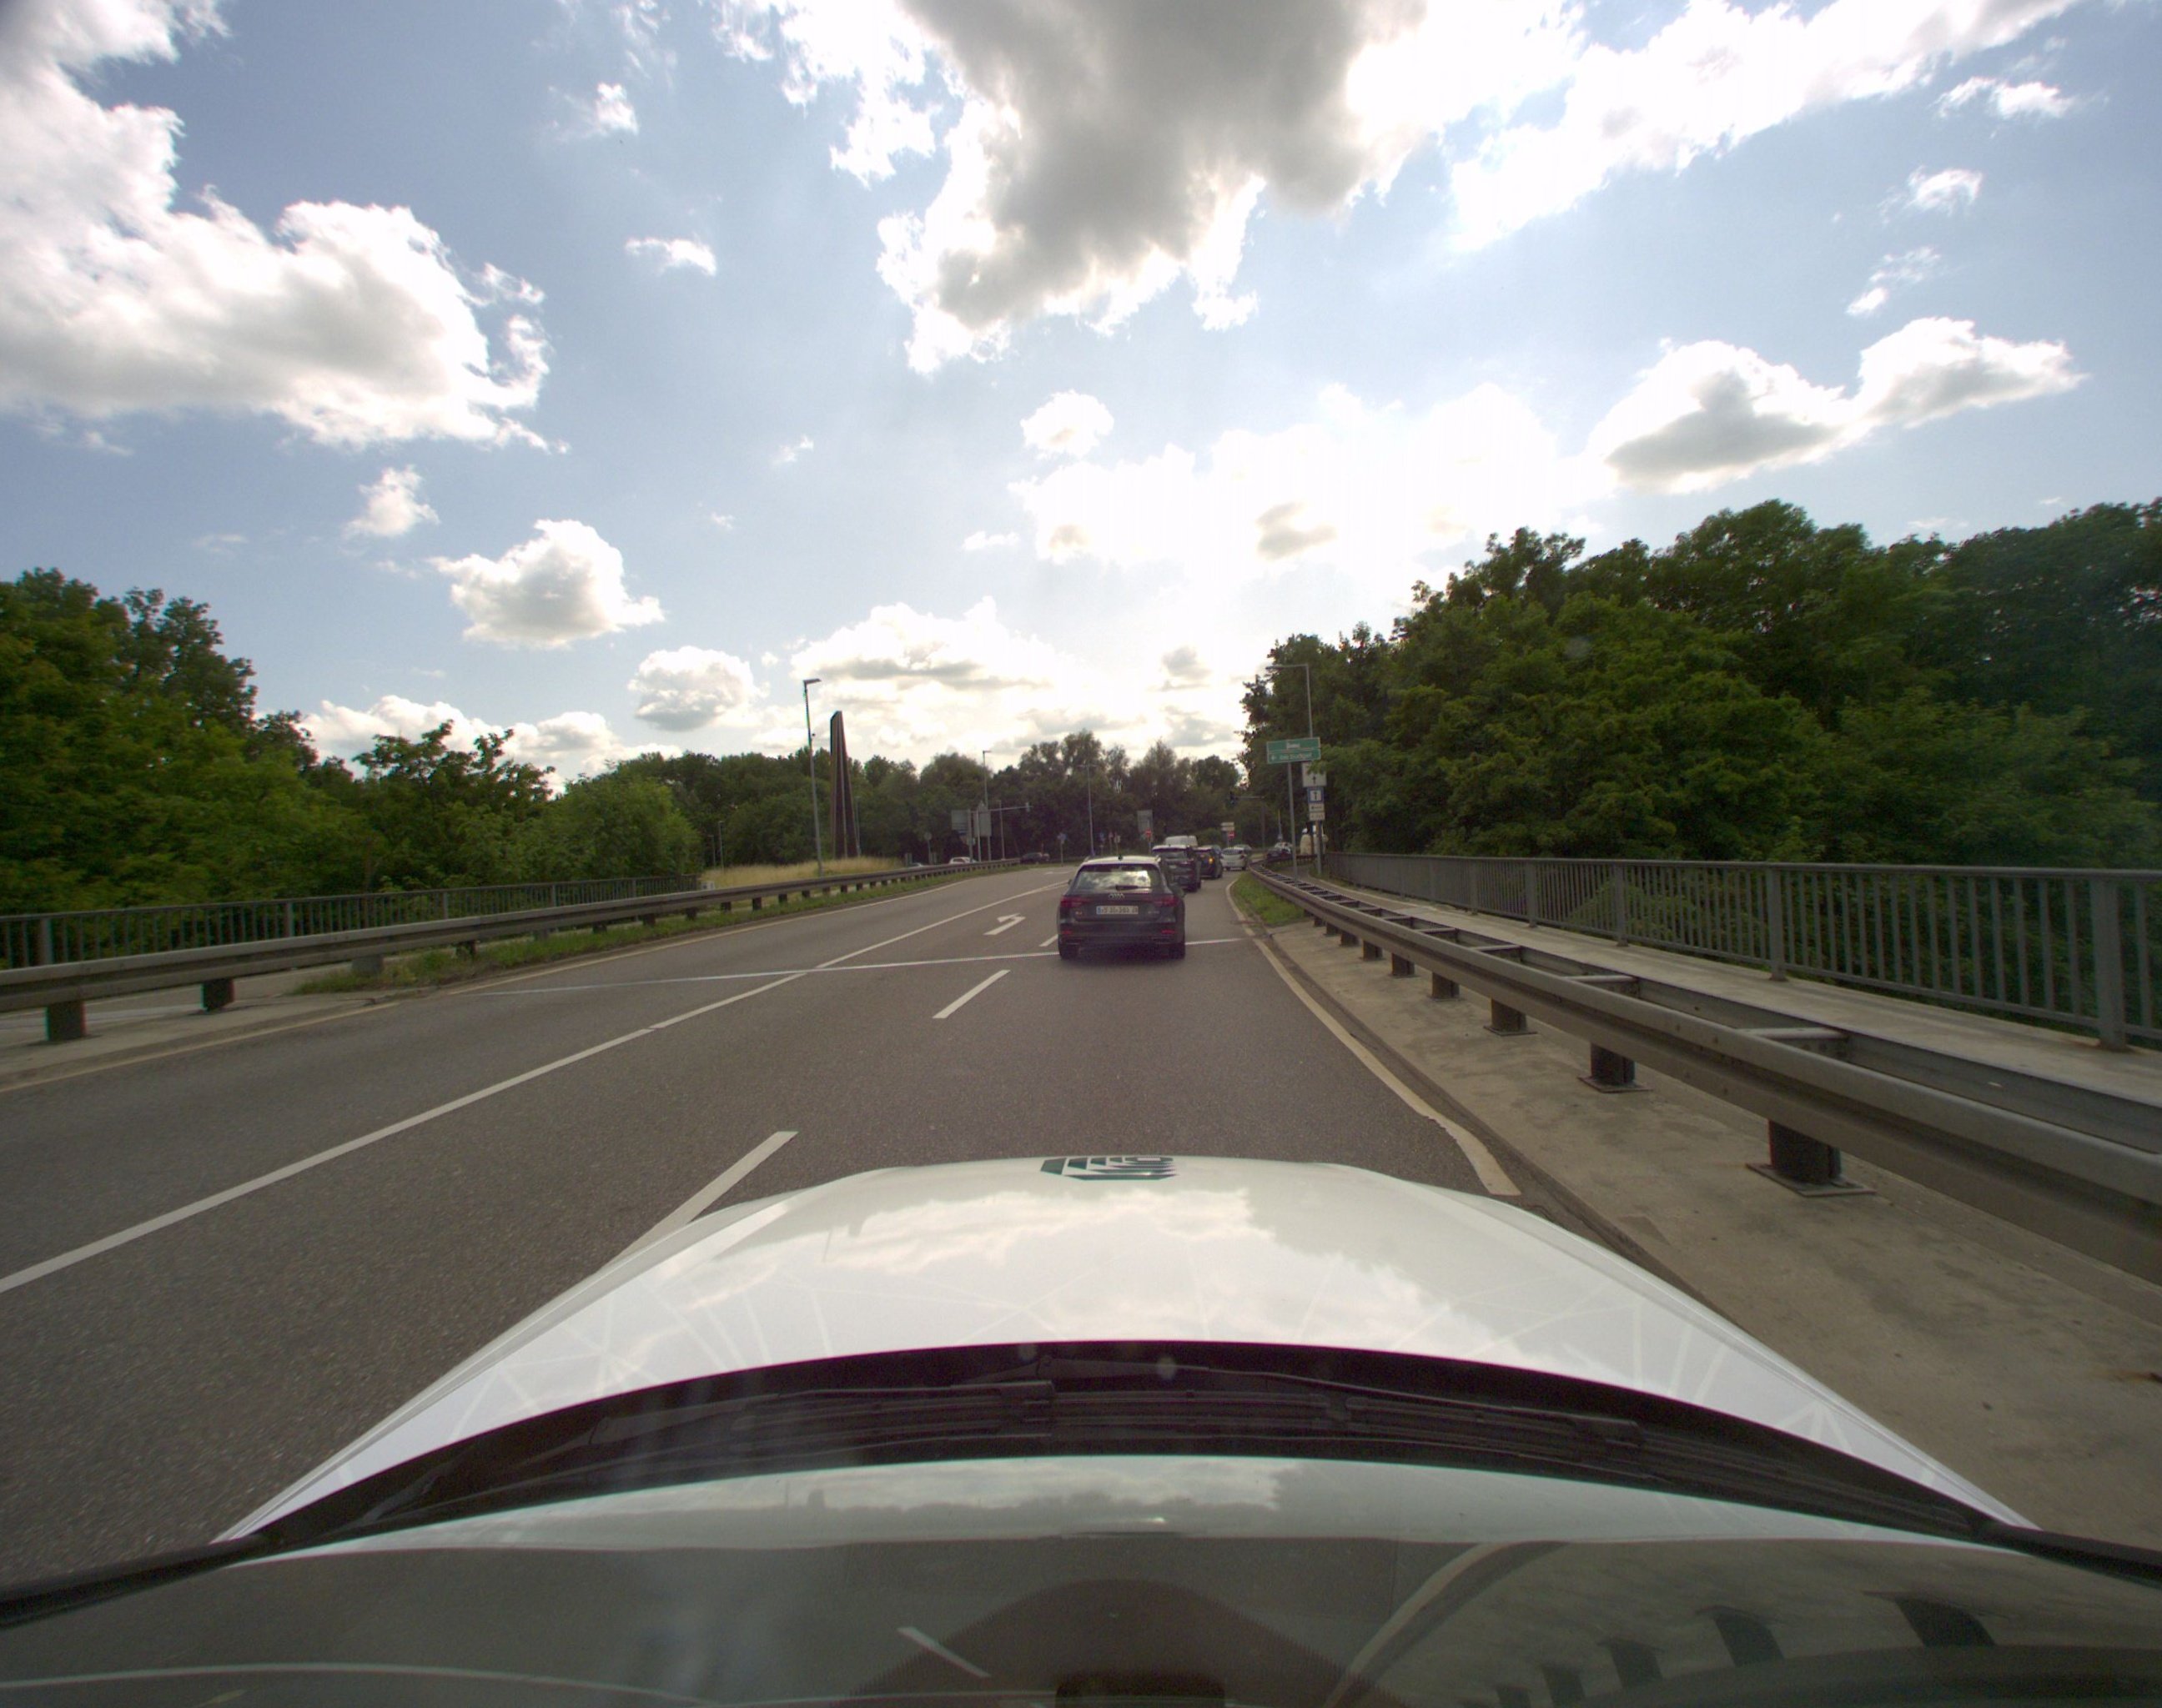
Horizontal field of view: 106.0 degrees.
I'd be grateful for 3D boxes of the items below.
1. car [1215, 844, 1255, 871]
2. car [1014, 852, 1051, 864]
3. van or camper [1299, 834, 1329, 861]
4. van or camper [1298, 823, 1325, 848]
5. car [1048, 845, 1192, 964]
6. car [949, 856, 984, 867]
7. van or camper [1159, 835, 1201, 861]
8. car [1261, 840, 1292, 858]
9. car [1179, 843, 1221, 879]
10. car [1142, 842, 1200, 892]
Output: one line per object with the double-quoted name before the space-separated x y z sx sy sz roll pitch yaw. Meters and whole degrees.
"car" 10.070 0.217 52.916 1.718 1.651 3.877 -1 0 23
"car" -5.548 0.468 93.071 3.766 1.371 1.681 0 2 22
"van or camper" 23.239 -0.696 81.130 1.975 2.590 4.115 0 1 28
"van or camper" 35.459 -2.832 124.961 2.878 3.615 8.177 0 2 24
"car" 0.744 0.674 12.649 1.818 1.492 4.214 -2 -1 7
"car" -11.740 0.751 83.734 3.544 1.117 1.604 0 0 40
"van or camper" 9.237 -0.581 76.449 2.275 2.340 5.218 -1 1 -13
"car" 16.300 -0.440 67.846 1.667 1.398 3.701 -2 0 27
"car" 5.925 0.306 40.140 1.721 1.651 3.870 0 1 13
"car" 3.273 0.424 29.034 1.810 1.651 3.866 -1 0 10
